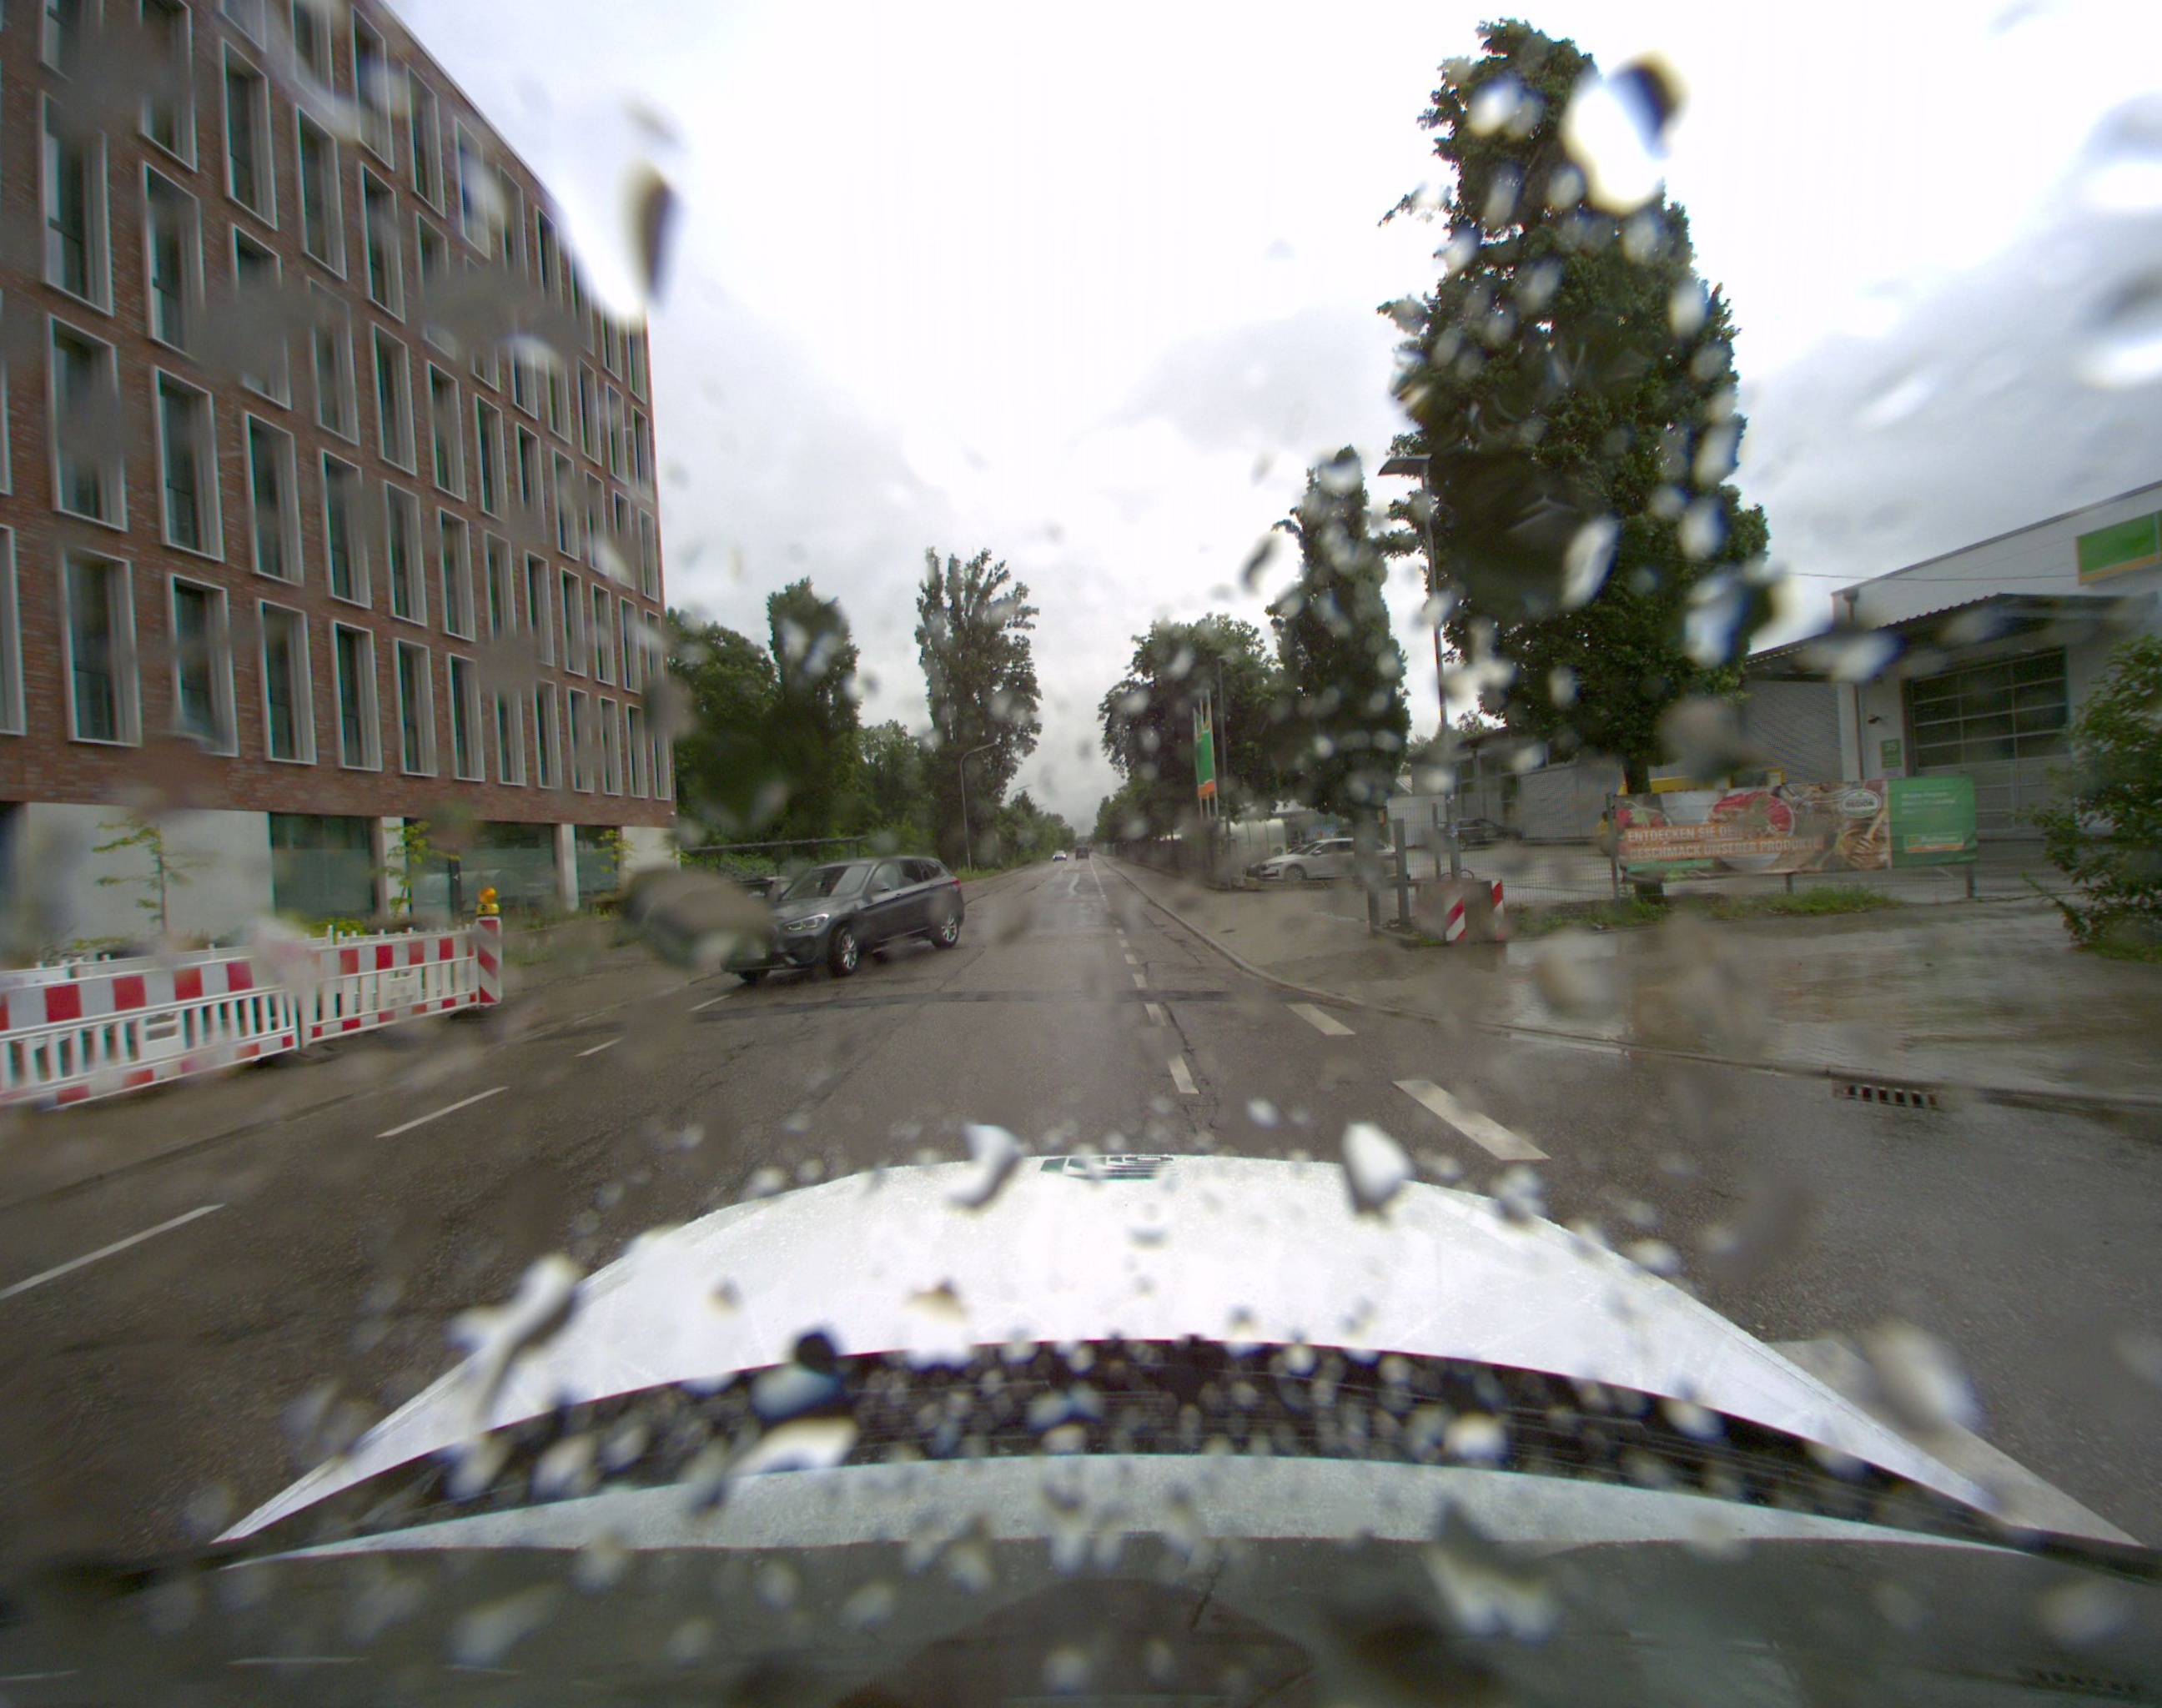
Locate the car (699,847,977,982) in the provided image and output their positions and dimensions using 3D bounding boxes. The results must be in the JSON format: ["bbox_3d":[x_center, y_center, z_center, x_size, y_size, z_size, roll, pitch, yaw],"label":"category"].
[{"bbox_3d":[-3.527,0.815,12.722,1.743,1.568,4.173,-6,0,23],"label":"car"}]

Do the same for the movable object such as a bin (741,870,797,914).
[{"bbox_3d":[-10.459,1.271,27.383,1.292,1.332,1.358,-4,0,-1],"label":"movable object such as a bin"}]

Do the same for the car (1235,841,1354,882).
[{"bbox_3d":[7.826,0.268,30.068,3.927,1.256,1.618,-3,0,-2],"label":"car"}]

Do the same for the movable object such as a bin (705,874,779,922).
[{"bbox_3d":[-10.327,1.342,24.860,1.362,1.308,1.456,-4,0,22],"label":"movable object such as a bin"}]

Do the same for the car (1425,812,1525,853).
[{"bbox_3d":[21.323,-1.140,44.201,4.346,1.832,2.064,-4,0,1],"label":"car"}]

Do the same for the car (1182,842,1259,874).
[{"bbox_3d":[8.225,0.223,48.312,4.196,1.600,1.823,-4,0,-1],"label":"car"}]

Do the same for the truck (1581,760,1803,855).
[{"bbox_3d":[20.621,-1.415,28.177,2.291,2.659,7.423,-5,0,4],"label":"truck"}]

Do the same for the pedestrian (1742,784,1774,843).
[{"bbox_3d":[20.170,-1.206,24.264,0.453,1.718,0.433,-5,0,3],"label":"pedestrian"}]

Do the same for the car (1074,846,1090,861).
[{"bbox_3d":[0.076,-0.046,109.848,1.988,1.910,4.199,-4,-1,-1],"label":"car"}]

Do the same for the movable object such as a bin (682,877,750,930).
[{"bbox_3d":[-10.302,1.373,23.066,1.294,1.308,1.445,-4,0,-6],"label":"movable object such as a bin"}]

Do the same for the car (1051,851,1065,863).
[{"bbox_3d":[-3.195,0.364,114.009,1.727,1.450,4.382,-6,0,1],"label":"car"}]

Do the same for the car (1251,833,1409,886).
[{"bbox_3d":[8.267,0.161,27.344,4.690,1.462,1.889,-3,0,-2],"label":"car"}]
